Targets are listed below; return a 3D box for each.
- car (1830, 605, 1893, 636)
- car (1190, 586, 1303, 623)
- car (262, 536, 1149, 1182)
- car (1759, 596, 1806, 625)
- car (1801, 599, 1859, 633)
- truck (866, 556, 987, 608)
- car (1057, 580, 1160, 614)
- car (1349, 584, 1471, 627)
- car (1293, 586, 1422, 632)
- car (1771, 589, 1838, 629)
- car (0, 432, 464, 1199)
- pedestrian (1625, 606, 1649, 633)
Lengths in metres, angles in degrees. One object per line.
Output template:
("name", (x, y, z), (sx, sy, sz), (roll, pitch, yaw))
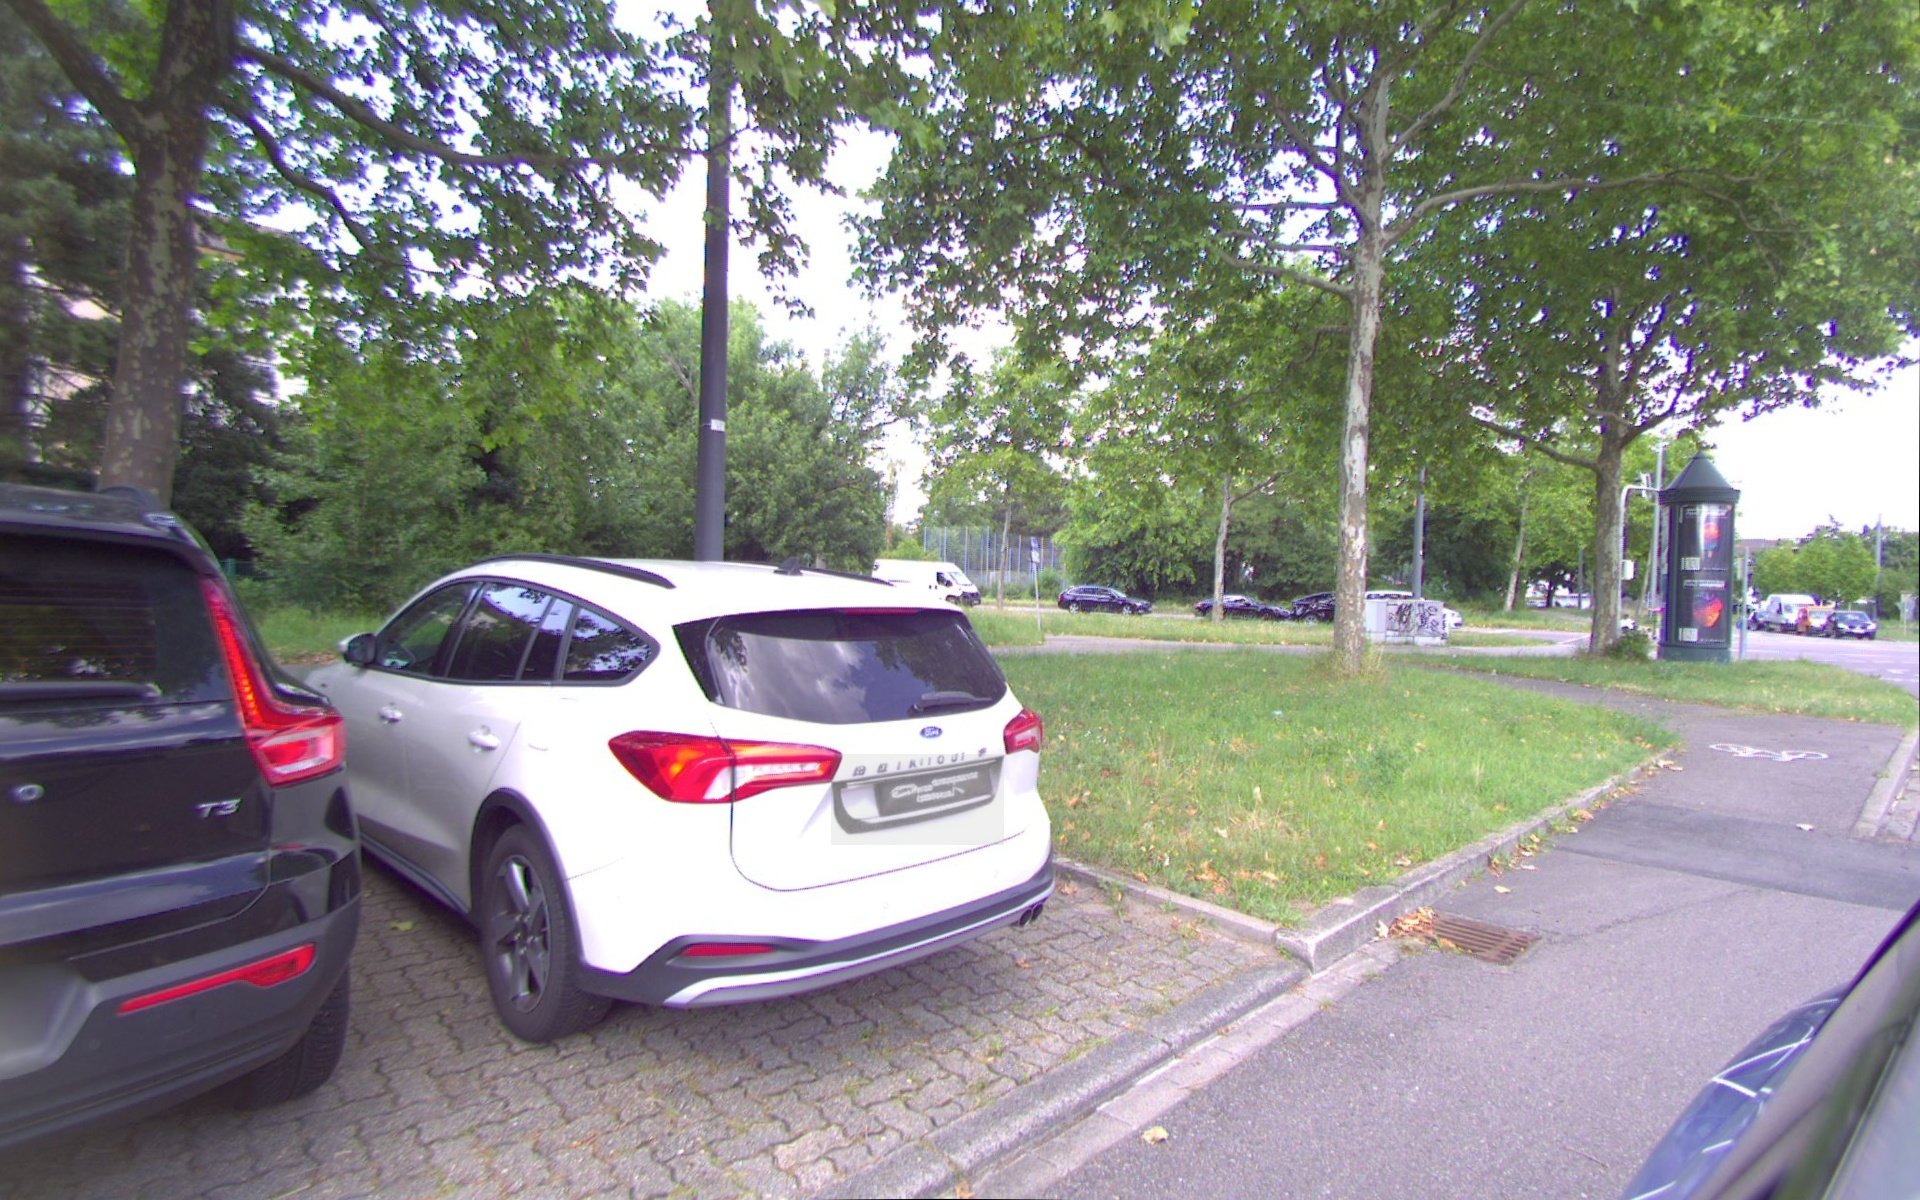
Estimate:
("car", (50.477, 1.116, 56.748), (1.781, 1.558, 3.958), (1, 1, 29))
("car", (13.189, 0.163, 46.603), (4.706, 1.487, 1.981), (2, 2, 28))
("car", (-1.618, 0.512, 4.670), (1.818, 1.492, 4.662), (1, 2, -45))
("car", (59.090, 0.718, 72.782), (1.780, 1.959, 4.326), (1, 1, 28))
("car", (53.316, 0.921, 62.082), (1.780, 1.959, 4.324), (1, 1, 29))
("truck", (-1.868, -1.028, 55.621), (6.452, 2.628, 2.194), (2, 1, 29))
("car", (7.321, -0.188, 50.061), (4.644, 1.532, 1.981), (2, 2, 28))
("car", (19.402, 0.184, 43.676), (4.644, 1.630, 1.981), (2, 2, 28))
("car", (16.071, 0.305, 41.000), (4.645, 1.630, 1.980), (2, 2, 29))
("car", (56.456, 0.582, 67.752), (2.219, 2.538, 5.670), (1, 1, 28))
("car", (-3.371, 0.428, 3.186), (1.818, 1.646, 4.662), (1, 2, -45))
("pedestrian", (28.473, 0.812, 42.568), (0.716, 1.047, 0.893), (2, 1, 28))
